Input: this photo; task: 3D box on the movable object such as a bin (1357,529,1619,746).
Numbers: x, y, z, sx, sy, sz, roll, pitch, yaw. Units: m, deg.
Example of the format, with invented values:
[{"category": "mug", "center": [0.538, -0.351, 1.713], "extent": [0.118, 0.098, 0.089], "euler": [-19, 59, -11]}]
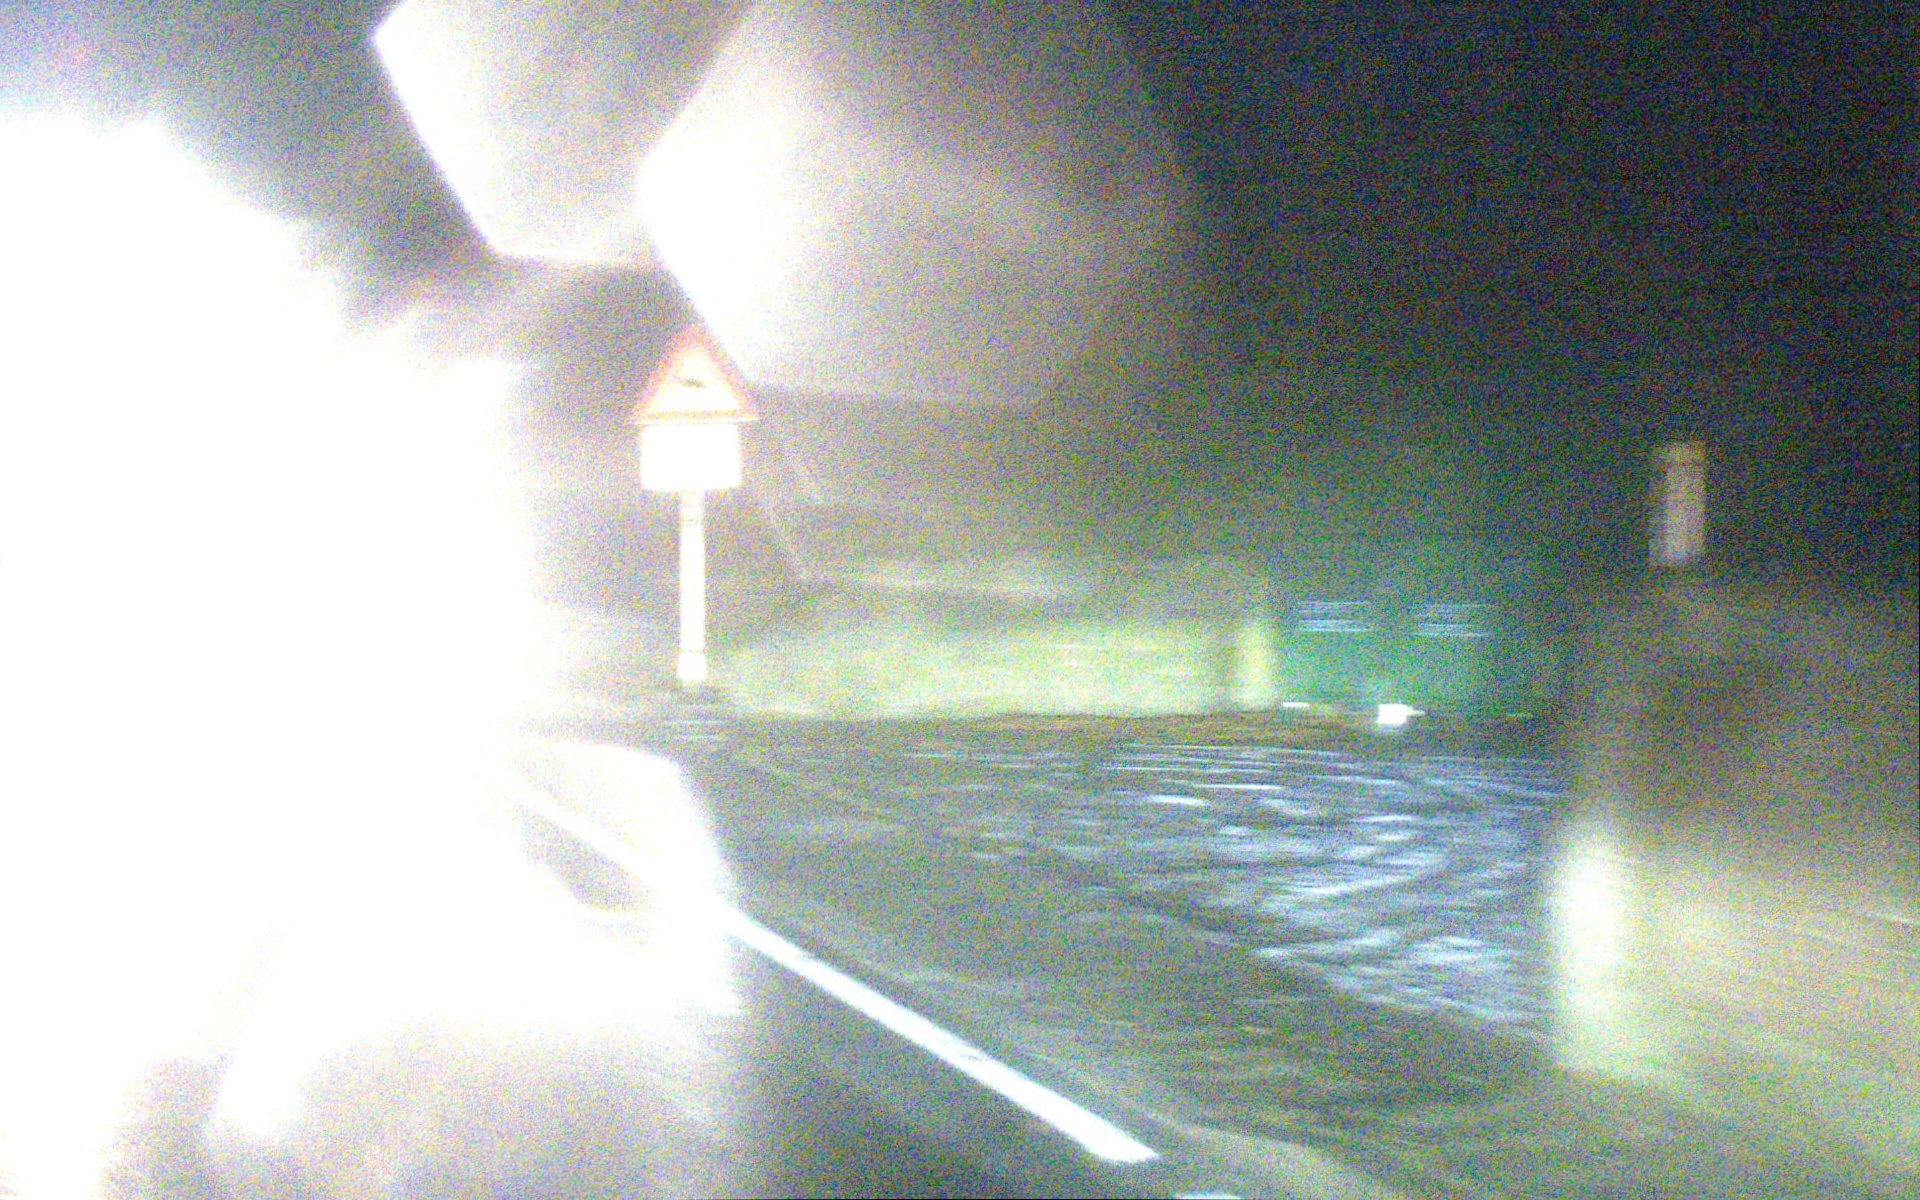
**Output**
[{"category": "movable object such as a bin", "center": [3.429, 0.220, 22.310], "extent": [1.231, 1.320, 1.150], "euler": [0, 3, 42]}]

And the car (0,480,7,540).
[{"category": "car", "center": [-28.474, -2.567, 98.813], "extent": [1.888, 1.665, 4.002], "euler": [-3, 3, -13]}]

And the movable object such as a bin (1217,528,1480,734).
[{"category": "movable object such as a bin", "center": [2.657, 0.194, 23.492], "extent": [1.321, 1.304, 1.174], "euler": [0, 3, 40]}]

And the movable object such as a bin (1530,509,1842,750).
[{"category": "movable object such as a bin", "center": [4.517, 0.180, 21.408], "extent": [1.248, 1.408, 1.391], "euler": [-3, 1, -43]}]

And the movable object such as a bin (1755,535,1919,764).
[{"category": "movable object such as a bin", "center": [5.618, 0.268, 20.228], "extent": [1.248, 1.294, 1.317], "euler": [-3, 1, -43]}]
